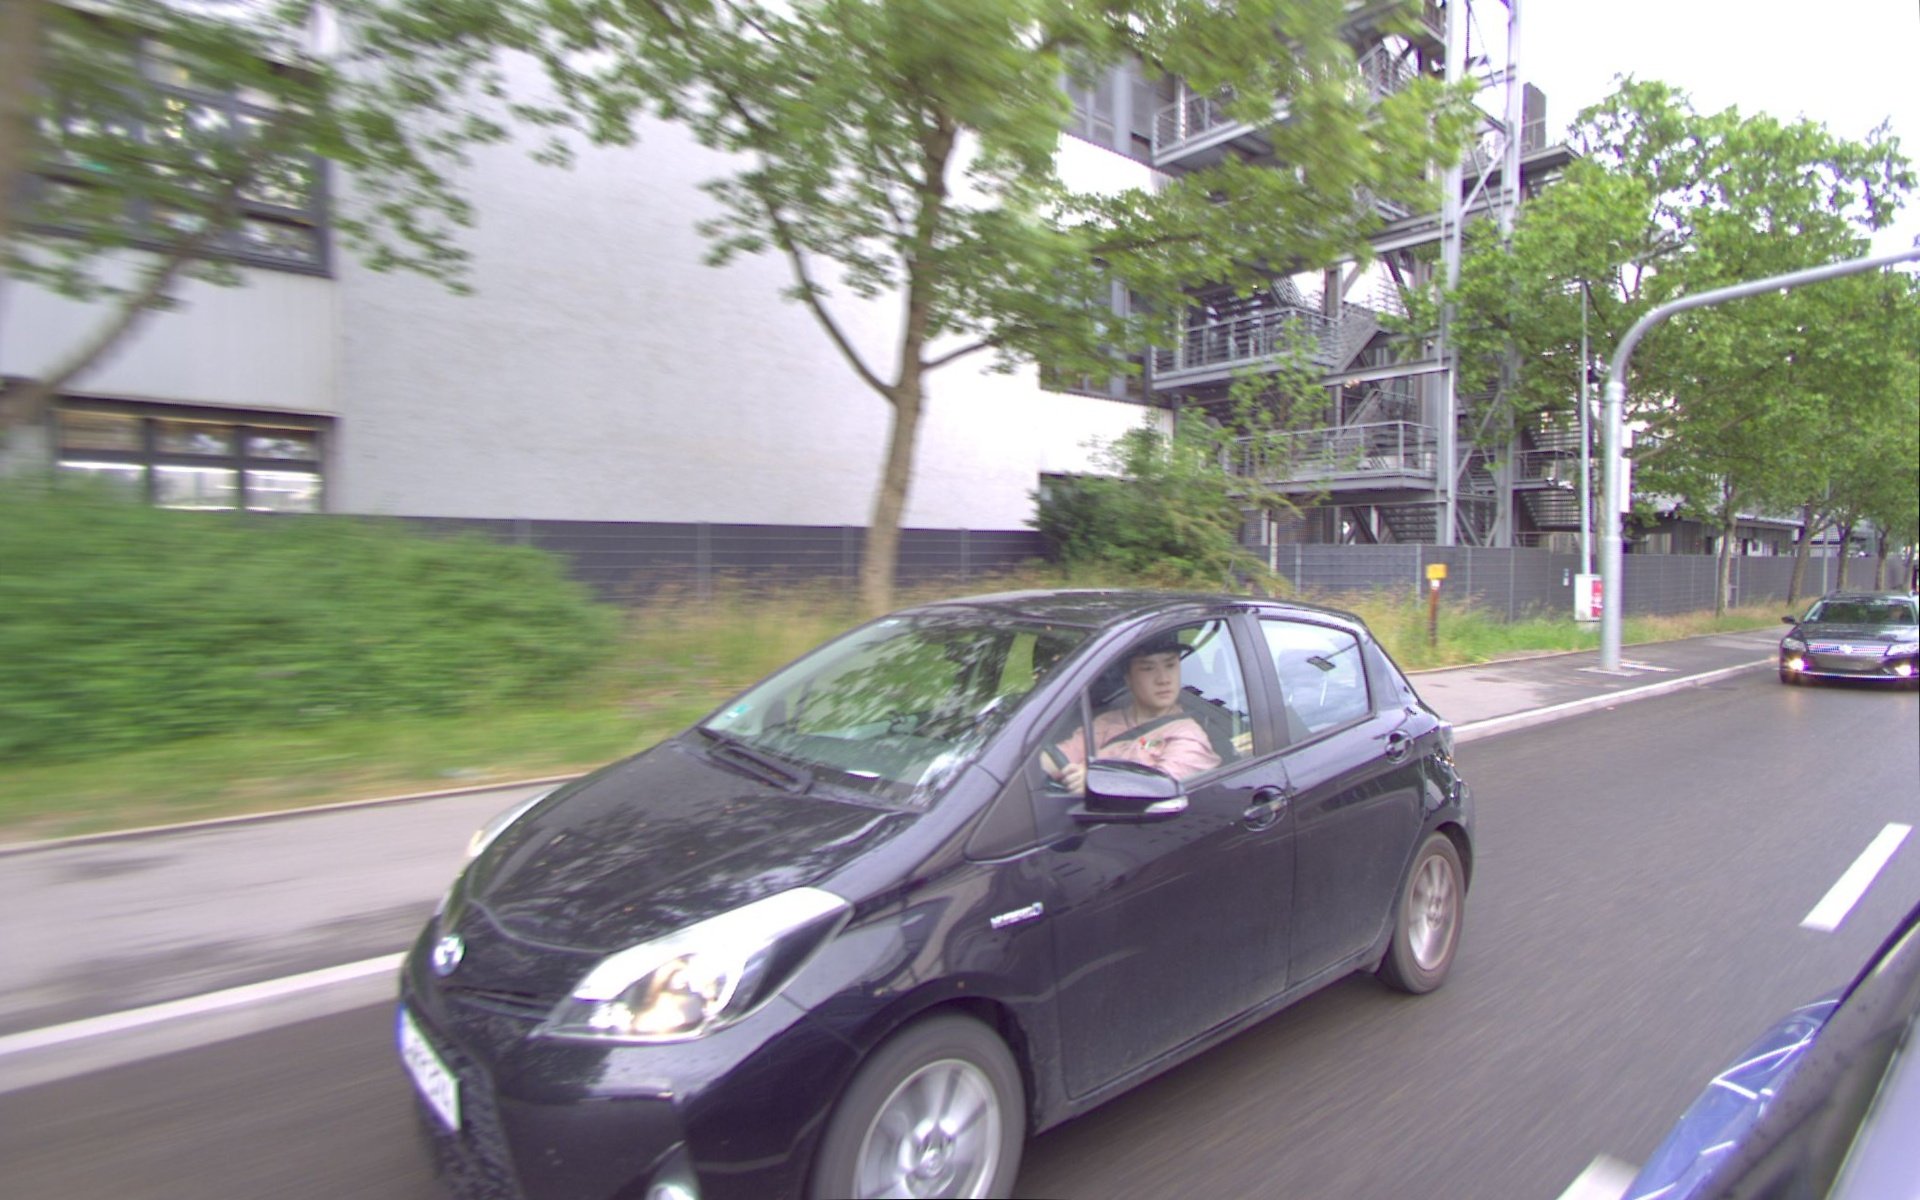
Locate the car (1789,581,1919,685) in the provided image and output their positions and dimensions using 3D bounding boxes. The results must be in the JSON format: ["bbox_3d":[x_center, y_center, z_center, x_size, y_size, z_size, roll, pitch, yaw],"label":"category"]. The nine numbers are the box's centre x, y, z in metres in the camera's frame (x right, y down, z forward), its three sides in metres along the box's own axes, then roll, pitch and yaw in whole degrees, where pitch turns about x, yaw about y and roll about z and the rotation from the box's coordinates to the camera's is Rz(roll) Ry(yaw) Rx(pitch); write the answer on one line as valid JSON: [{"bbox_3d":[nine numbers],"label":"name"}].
[{"bbox_3d":[14.938,0.433,16.315,4.439,1.448,1.748,-1,2,-41],"label":"car"}]

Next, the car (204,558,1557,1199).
[{"bbox_3d":[0.295,0.632,3.512,4.561,1.488,1.748,-1,2,-41],"label":"car"}]

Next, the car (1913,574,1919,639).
[{"bbox_3d":[26.197,0.147,26.195,4.258,1.610,1.824,-1,2,-41],"label":"car"}]
